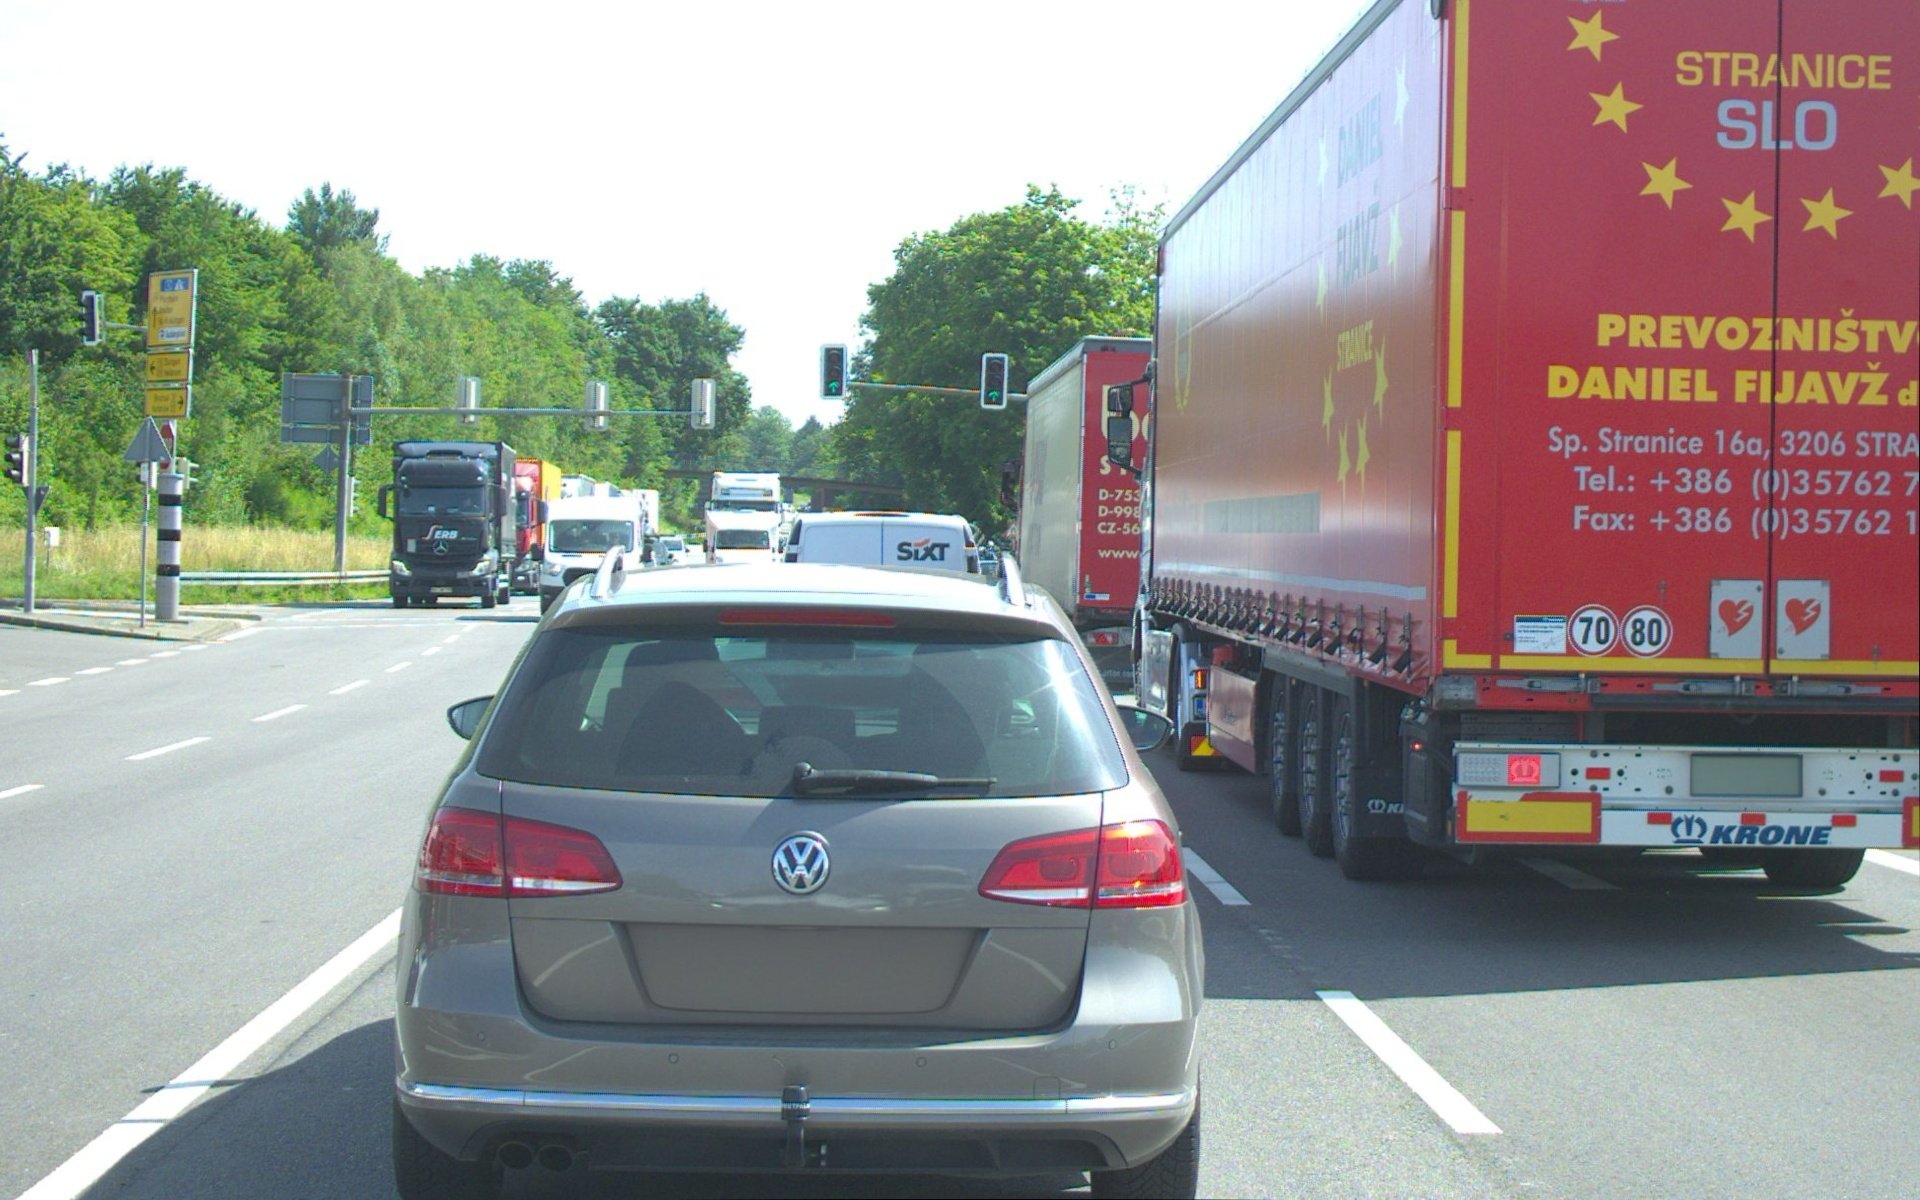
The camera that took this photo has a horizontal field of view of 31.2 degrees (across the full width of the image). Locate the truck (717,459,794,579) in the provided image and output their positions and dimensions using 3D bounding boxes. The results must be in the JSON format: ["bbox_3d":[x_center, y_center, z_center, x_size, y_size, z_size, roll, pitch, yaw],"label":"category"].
[{"bbox_3d":[-7.525,-2.996,127.297,2.553,4.292,7.596,0,1,-1],"label":"truck"}]

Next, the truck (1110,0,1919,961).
[{"bbox_3d":[3.002,-0.927,21.157,2.957,4.255,16.585,1,1,-1],"label":"truck"}]

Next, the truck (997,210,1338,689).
[{"bbox_3d":[2.375,-1.800,46.290,3.062,5.203,17.008,1,1,-1],"label":"truck"}]

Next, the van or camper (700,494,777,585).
[{"bbox_3d":[-7.237,-1.944,112.611,2.224,2.831,5.711,1,0,-1],"label":"van or camper"}]

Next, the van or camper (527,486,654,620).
[{"bbox_3d":[-7.352,-0.945,68.740,2.173,2.542,4.171,1,1,-2],"label":"van or camper"}]

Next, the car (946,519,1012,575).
[{"bbox_3d":[0.530,-1.514,98.338,1.727,1.514,3.312,2,0,-2],"label":"car"}]

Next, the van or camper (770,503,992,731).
[{"bbox_3d":[-0.731,0.109,31.146,1.852,1.899,3.785,1,1,-2],"label":"van or camper"}]

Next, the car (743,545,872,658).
[{"bbox_3d":[-2.146,0.012,48.631,1.726,1.514,3.312,1,0,-2],"label":"car"}]

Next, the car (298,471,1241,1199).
[{"bbox_3d":[-0.306,0.554,8.273,1.790,1.633,3.503,0,1,2],"label":"car"}]

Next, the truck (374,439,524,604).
[{"bbox_3d":[-12.229,-1.887,82.786,2.812,3.773,6.991,-1,1,-2],"label":"truck"}]

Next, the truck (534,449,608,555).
[{"bbox_3d":[-14.308,-3.595,126.836,2.532,3.773,6.991,-1,1,-5],"label":"truck"}]
